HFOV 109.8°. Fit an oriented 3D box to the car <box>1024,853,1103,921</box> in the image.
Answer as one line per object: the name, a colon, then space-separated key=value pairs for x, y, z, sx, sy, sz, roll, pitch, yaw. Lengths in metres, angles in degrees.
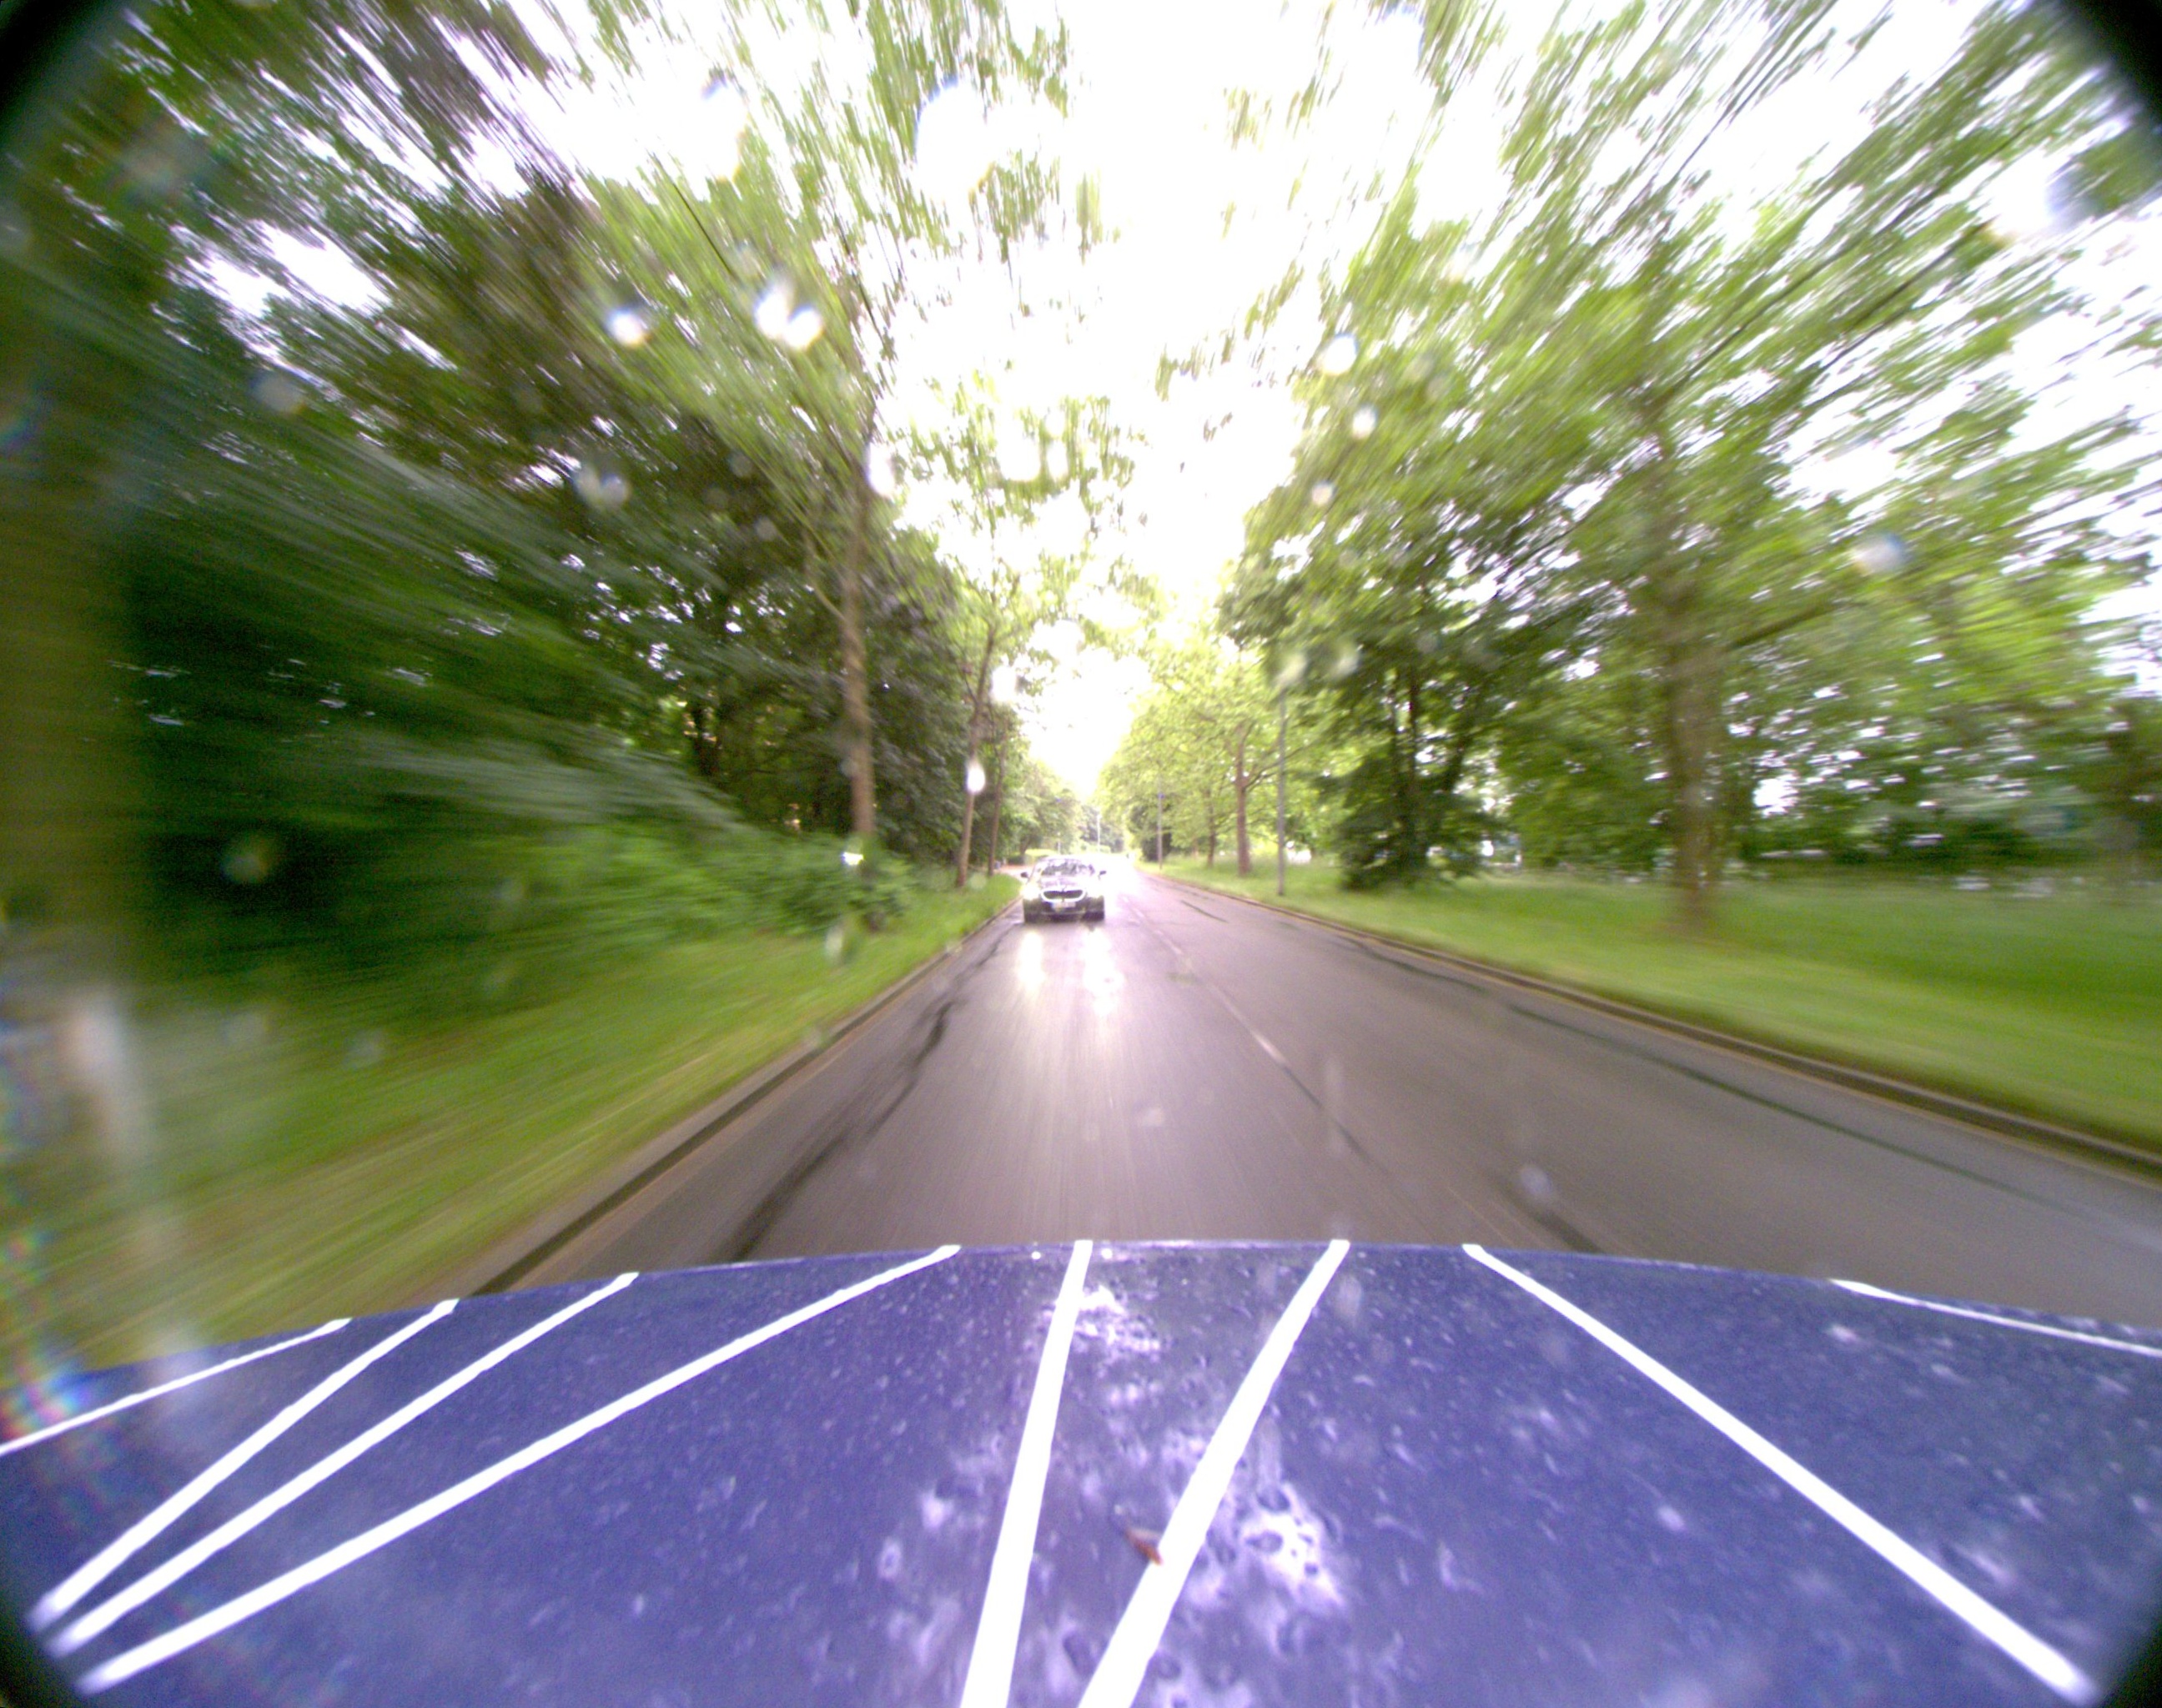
car: x=-0.376 y=0.791 z=20.430 sx=1.832 sy=1.499 sz=4.498 roll=-3 pitch=1 yaw=1
